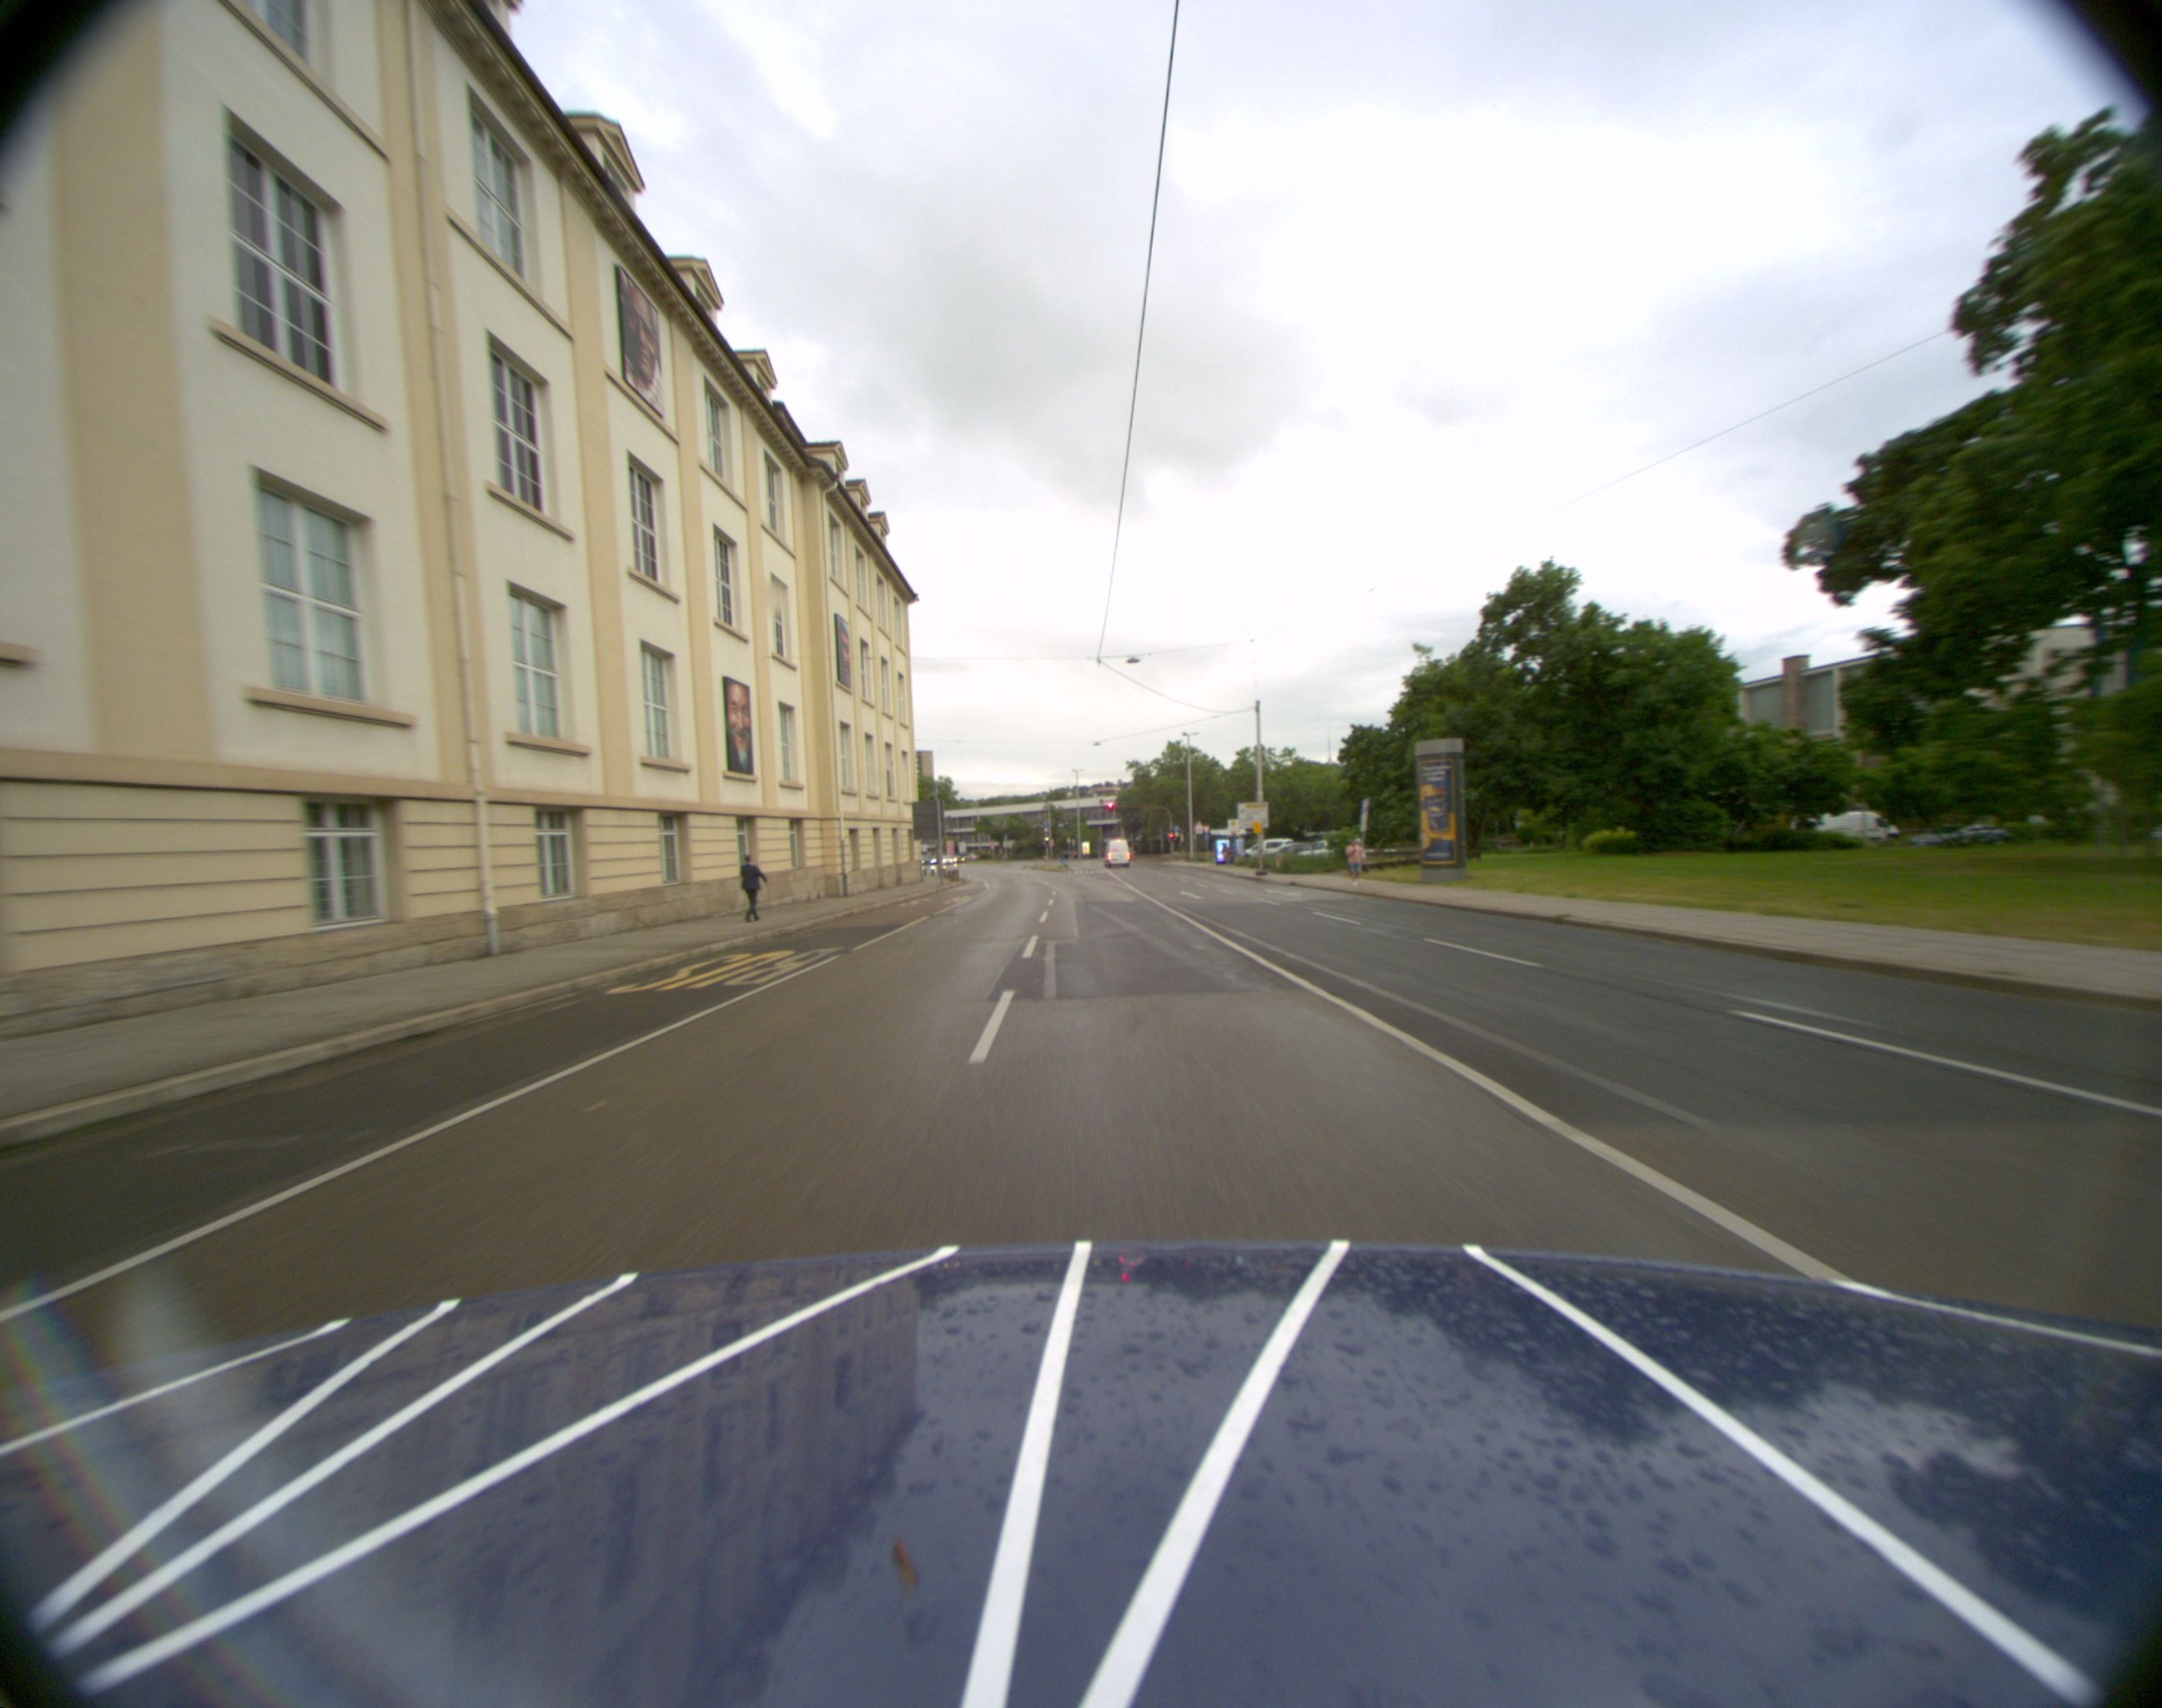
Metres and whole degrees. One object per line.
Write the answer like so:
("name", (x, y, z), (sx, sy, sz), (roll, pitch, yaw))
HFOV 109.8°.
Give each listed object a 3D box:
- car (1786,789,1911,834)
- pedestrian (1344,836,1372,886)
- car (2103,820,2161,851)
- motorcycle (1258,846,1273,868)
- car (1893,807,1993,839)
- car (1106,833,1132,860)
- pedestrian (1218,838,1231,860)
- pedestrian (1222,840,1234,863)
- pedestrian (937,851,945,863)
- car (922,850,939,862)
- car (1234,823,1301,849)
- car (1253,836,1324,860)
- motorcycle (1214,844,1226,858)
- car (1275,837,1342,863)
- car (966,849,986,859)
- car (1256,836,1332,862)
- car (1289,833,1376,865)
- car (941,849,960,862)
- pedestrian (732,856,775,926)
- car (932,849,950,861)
("car", (56.166, -3.099, 55.718), (6.207, 2.746, 2.739), (-4, 2, 3))
("pedestrian", (9.913, 0.237, 27.218), (0.671, 1.677, 0.913), (-4, 2, 7))
("car", (55.532, -0.981, 39.001), (3.933, 1.367, 1.782), (-4, 2, -3))
("motorcycle", (11.169, 0.167, 46.025), (0.516, 1.240, 1.267), (-4, 2, 1))
("car", (54.292, -1.930, 47.920), (3.997, 1.740, 2.000), (-4, 1, 0))
("car", (3.696, -0.733, 74.295), (1.988, 2.515, 5.629), (-2, 1, -2))
("pedestrian", (11.141, -0.417, 59.102), (0.685, 1.686, 0.671), (-4, 2, -8))
("pedestrian", (11.268, -0.213, 58.321), (0.629, 1.686, 0.642), (-4, 2, -8))
("pedestrian", (-20.804, 0.428, 112.894), (0.903, 1.786, 0.541), (-4, 2, -6))
("car", (-24.002, 0.331, 121.158), (1.886, 1.858, 4.339), (-3, 1, -22))
("car", (14.952, -1.404, 61.003), (4.711, 1.745, 2.019), (-3, 3, 41))
("car", (14.565, -0.431, 53.420), (4.369, 1.341, 1.907), (-3, 2, 29))
("motorcycle", (12.463, -0.249, 68.254), (0.516, 1.240, 1.266), (-5, 2, -14))
("car", (14.342, -0.240, 47.993), (3.588, 1.341, 1.846), (-3, 2, 38))
("car", (-20.591, 0.003, 148.823), (2.080, 1.900, 4.336), (-3, 1, -31))
("car", (14.256, -0.328, 50.790), (4.573, 1.341, 1.907), (-3, 2, 25))
("car", (14.518, -0.272, 44.097), (1.871, 1.600, 4.515), (-5, 2, -34))
("car", (-20.901, 0.182, 121.742), (2.079, 1.900, 4.554), (-3, 1, -22))
("pedestrian", (-8.714, 0.964, 20.220), (0.671, 1.788, 0.851), (-2, 2, 1))
("car", (-23.450, 0.181, 127.263), (2.079, 1.817, 4.554), (-3, 1, -22))
